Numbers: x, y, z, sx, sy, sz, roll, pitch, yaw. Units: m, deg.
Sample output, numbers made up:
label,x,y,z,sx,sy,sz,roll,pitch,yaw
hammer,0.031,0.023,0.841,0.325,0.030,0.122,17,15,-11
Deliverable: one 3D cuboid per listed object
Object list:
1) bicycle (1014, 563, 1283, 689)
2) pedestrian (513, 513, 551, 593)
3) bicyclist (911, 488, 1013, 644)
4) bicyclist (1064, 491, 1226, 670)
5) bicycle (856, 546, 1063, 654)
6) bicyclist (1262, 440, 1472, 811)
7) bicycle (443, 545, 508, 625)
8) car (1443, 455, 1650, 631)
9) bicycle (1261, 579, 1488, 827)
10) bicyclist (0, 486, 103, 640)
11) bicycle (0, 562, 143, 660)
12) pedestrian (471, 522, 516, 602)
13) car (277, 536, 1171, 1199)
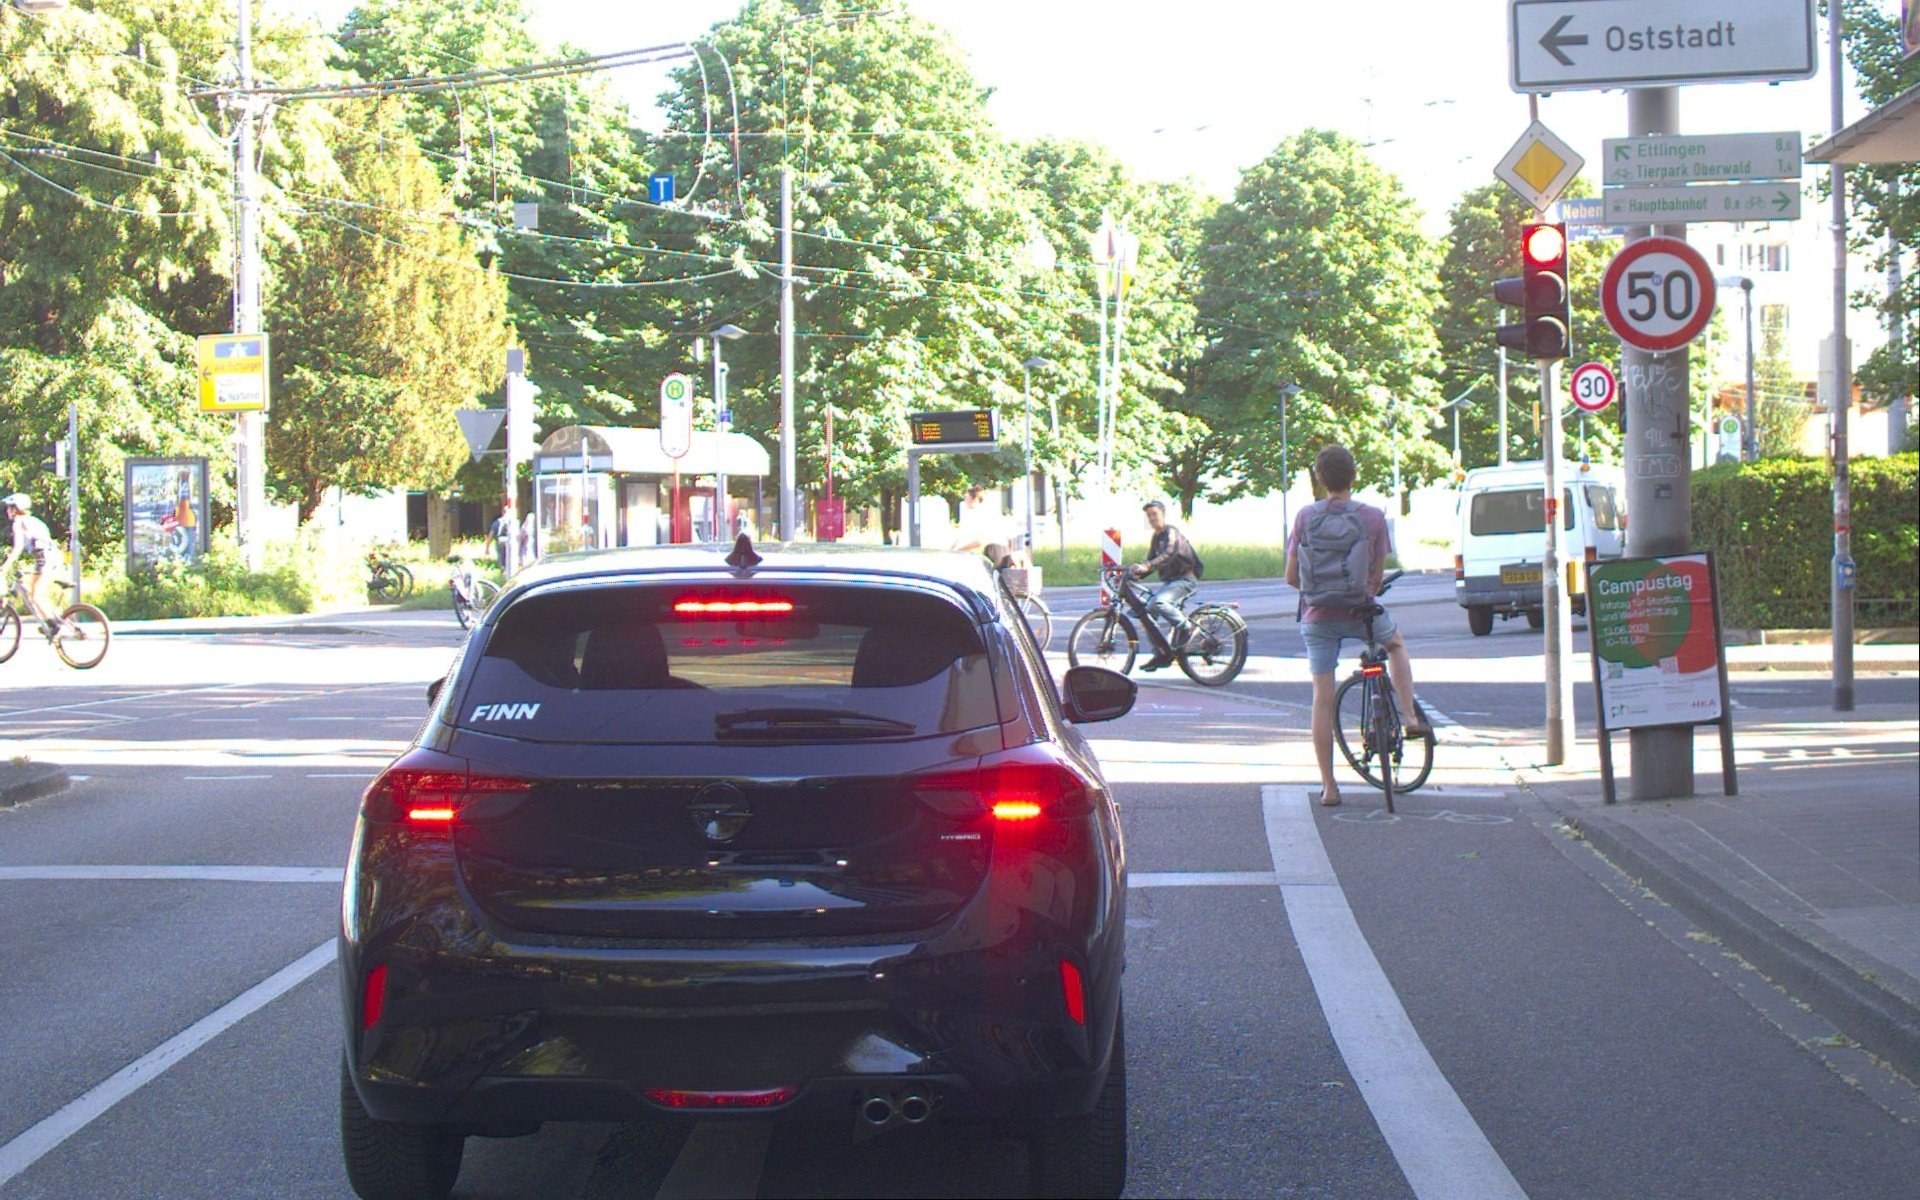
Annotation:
label,x,y,z,sx,sy,sz,roll,pitch,yaw
bicycle,1.642,0.210,29.978,2.190,1.029,0.835,-1,1,-23
pedestrian,-8.809,-0.969,70.754,0.636,1.624,0.572,1,1,7
bicyclist,0.027,-0.358,35.537,0.862,1.589,0.648,0,1,22
bicyclist,1.607,-0.181,29.948,1.112,1.515,0.922,-1,1,-23
bicycle,-0.009,-0.007,35.564,2.057,1.090,0.592,0,1,22
bicyclist,2.080,0.116,17.670,0.941,1.845,0.864,-1,1,-1
bicycle,-6.538,-0.217,46.478,0.605,1.028,1.982,-1,1,-1
car,7.988,-0.791,46.457,2.065,2.241,4.883,0,2,18
bicycle,2.110,0.493,17.784,0.860,1.149,2.172,-1,1,-1
bicyclist,-9.505,-0.381,35.484,1.010,1.565,0.799,0,1,11
bicycle,-9.553,0.115,35.518,2.059,0.980,0.672,0,1,11
pedestrian,-9.581,-0.774,70.658,0.751,1.624,0.597,1,1,7
car,-0.474,0.560,8.767,1.727,1.424,4.187,0,1,0
